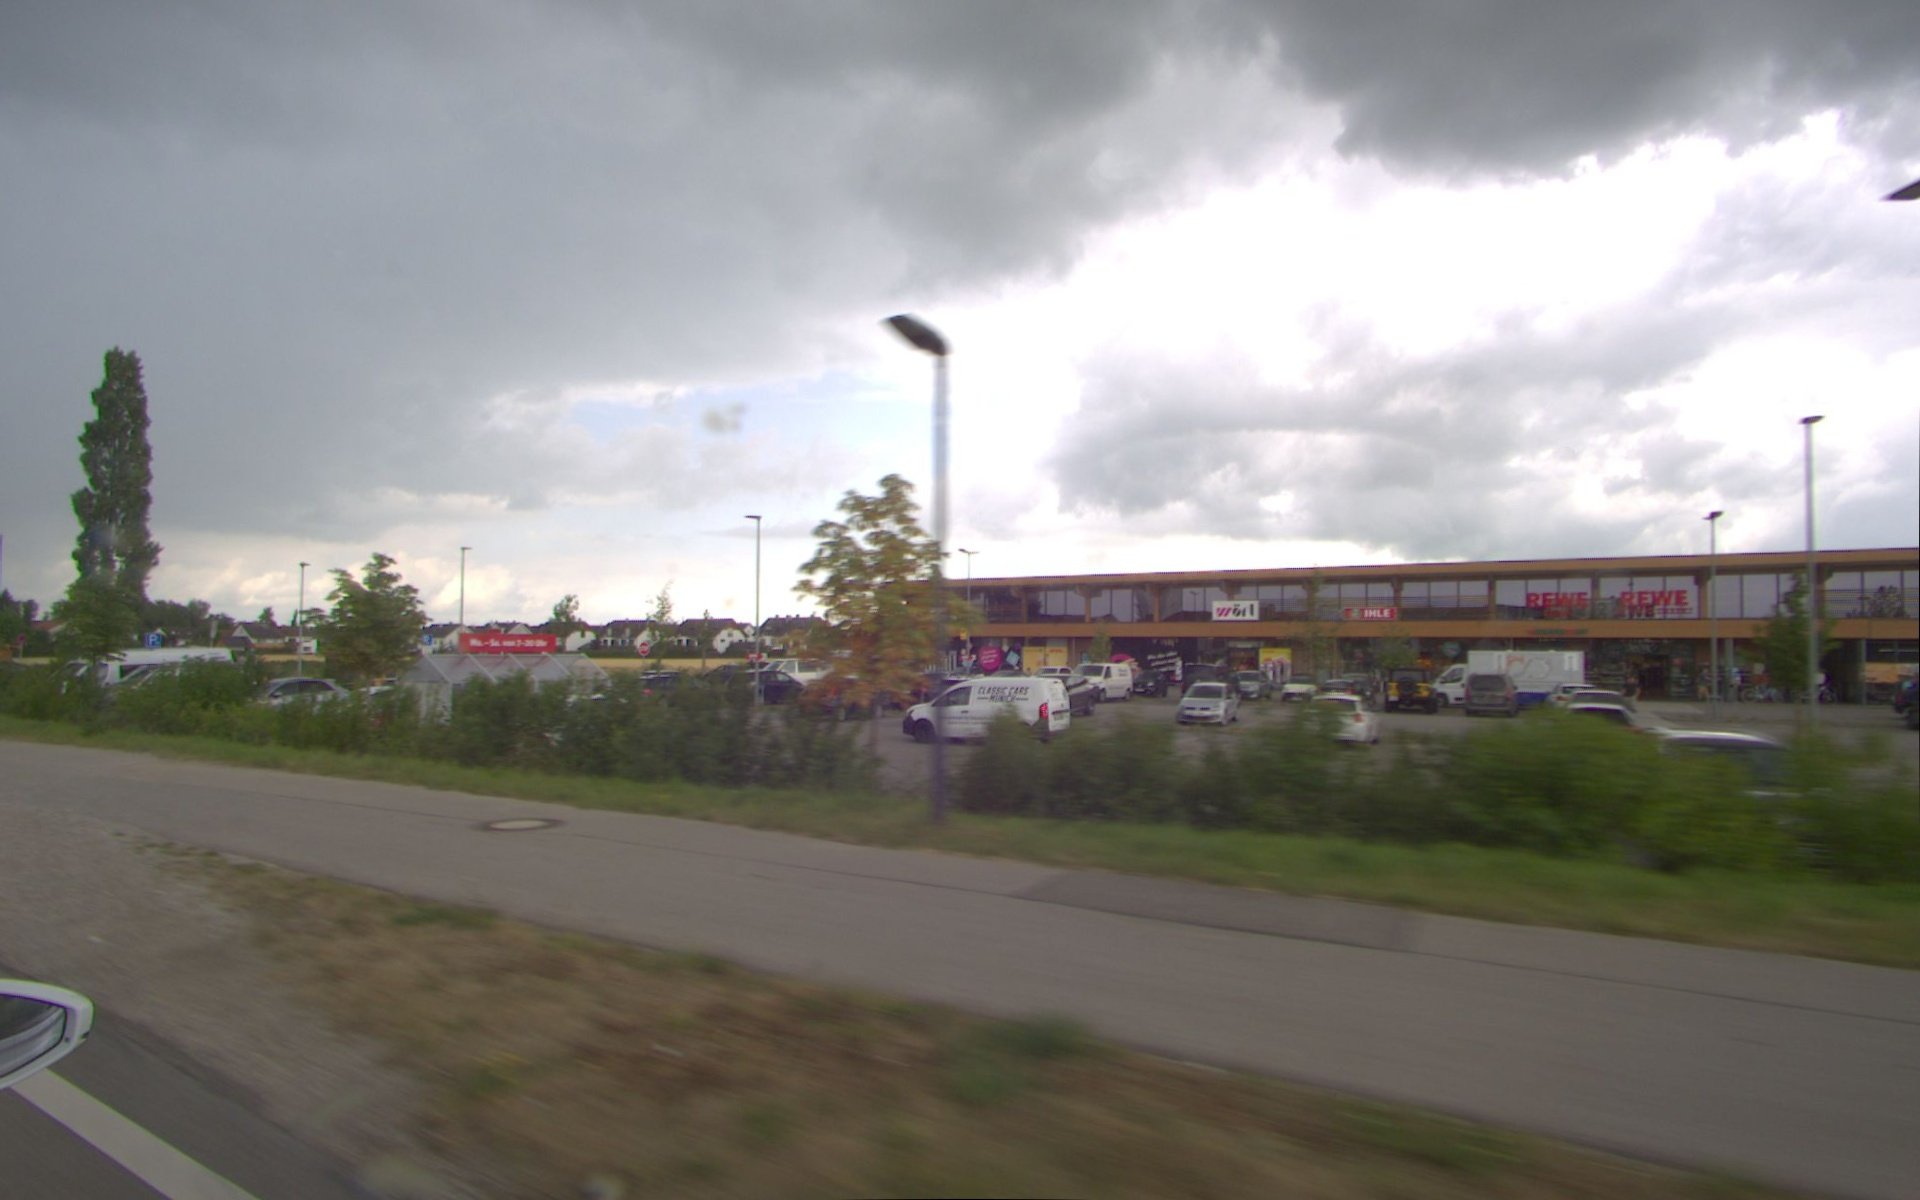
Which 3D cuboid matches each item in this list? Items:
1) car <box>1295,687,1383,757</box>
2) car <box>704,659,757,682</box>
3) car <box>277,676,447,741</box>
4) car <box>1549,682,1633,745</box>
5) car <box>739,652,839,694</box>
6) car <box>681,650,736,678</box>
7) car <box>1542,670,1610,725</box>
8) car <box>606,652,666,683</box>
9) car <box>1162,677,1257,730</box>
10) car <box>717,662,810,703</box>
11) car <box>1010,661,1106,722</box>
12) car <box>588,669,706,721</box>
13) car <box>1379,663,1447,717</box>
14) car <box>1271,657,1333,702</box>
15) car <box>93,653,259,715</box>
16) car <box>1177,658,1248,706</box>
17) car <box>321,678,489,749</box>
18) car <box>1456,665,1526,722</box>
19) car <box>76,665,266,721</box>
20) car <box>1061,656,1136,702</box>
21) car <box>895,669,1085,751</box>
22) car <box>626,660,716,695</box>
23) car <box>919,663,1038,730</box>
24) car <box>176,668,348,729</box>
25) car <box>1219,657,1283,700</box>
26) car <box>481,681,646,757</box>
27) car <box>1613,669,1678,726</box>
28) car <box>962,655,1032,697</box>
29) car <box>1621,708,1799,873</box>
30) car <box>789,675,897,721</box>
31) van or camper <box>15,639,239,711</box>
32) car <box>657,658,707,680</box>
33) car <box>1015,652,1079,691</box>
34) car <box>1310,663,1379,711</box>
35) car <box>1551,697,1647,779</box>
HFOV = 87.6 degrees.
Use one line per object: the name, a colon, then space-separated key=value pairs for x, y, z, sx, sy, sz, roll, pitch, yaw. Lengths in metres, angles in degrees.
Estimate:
car: x=10.521 y=3.302 z=27.687 sx=1.727 sy=1.552 sz=3.544 roll=-1 pitch=-1 yaw=30
car: x=-16.450 y=5.014 z=71.684 sx=3.527 sy=1.527 sz=1.742 roll=-1 pitch=-1 yaw=32
car: x=-17.875 y=3.195 z=30.142 sx=1.651 sy=1.558 sz=4.142 roll=-1 pitch=-1 yaw=30
car: x=19.581 y=3.444 z=30.999 sx=1.974 sy=1.504 sz=4.105 roll=-1 pitch=-1 yaw=36
car: x=-9.289 y=3.947 z=54.660 sx=5.180 sy=2.040 sz=1.982 roll=1 pitch=-1 yaw=-43
car: x=-19.668 y=5.016 z=78.383 sx=3.942 sy=2.040 sz=1.990 roll=-1 pitch=-1 yaw=32
car: x=24.931 y=3.870 z=40.477 sx=2.044 sy=1.872 sz=3.975 roll=-1 pitch=-1 yaw=36
car: x=-23.159 y=4.768 z=71.523 sx=3.942 sy=2.040 sz=1.990 roll=-1 pitch=-1 yaw=32
car: x=9.101 y=3.690 z=36.283 sx=1.974 sy=1.572 sz=4.105 roll=-1 pitch=-1 yaw=36
car: x=-9.096 y=3.799 z=46.499 sx=1.974 sy=1.639 sz=3.975 roll=-1 pitch=-1 yaw=36
car: x=3.856 y=3.493 z=38.845 sx=1.974 sy=2.040 sz=3.975 roll=-1 pitch=-1 yaw=36
car: x=-11.959 y=3.596 z=38.485 sx=1.974 sy=1.639 sz=3.975 roll=-1 pitch=-1 yaw=36
car: x=19.911 y=3.887 z=43.933 sx=1.974 sy=2.040 sz=3.975 roll=-1 pitch=-1 yaw=36
car: x=17.759 y=4.081 z=51.912 sx=1.974 sy=2.040 sz=3.975 roll=-1 pitch=-1 yaw=36
car: x=-29.702 y=3.109 z=38.073 sx=1.970 sy=2.040 sz=4.588 roll=-1 pitch=-1 yaw=30
car: x=12.222 y=3.908 z=48.314 sx=1.974 sy=2.040 sz=3.975 roll=-1 pitch=-1 yaw=36
car: x=-15.203 y=3.061 z=27.613 sx=1.651 sy=1.558 sz=3.752 roll=-1 pitch=-1 yaw=30
car: x=22.157 y=3.842 z=41.698 sx=2.044 sy=2.040 sz=3.975 roll=-1 pitch=-1 yaw=36
car: x=-28.096 y=3.260 z=35.850 sx=1.732 sy=1.618 sz=5.090 roll=-1 pitch=-1 yaw=30
car: x=7.104 y=3.934 z=50.807 sx=1.970 sy=2.040 sz=5.122 roll=-1 pitch=-1 yaw=30
car: x=0.801 y=2.978 z=27.799 sx=4.867 sy=1.931 sz=2.101 roll=-1 pitch=-1 yaw=29
car: x=-14.208 y=3.781 z=49.448 sx=1.873 sy=1.451 sz=4.173 roll=-1 pitch=-1 yaw=30
car: x=0.688 y=3.164 z=33.673 sx=1.974 sy=1.895 sz=4.247 roll=-1 pitch=-1 yaw=36
car: x=-22.723 y=3.155 z=32.752 sx=2.049 sy=1.618 sz=4.142 roll=-1 pitch=-1 yaw=30
car: x=15.458 y=4.127 z=53.106 sx=1.974 sy=2.040 sz=4.097 roll=-1 pitch=-1 yaw=36
car: x=-10.096 y=2.984 z=25.743 sx=1.651 sy=1.558 sz=3.752 roll=-1 pitch=-1 yaw=30
car: x=26.824 y=3.745 z=39.122 sx=1.974 sy=1.895 sz=4.247 roll=-1 pitch=-1 yaw=36
car: x=2.051 y=4.086 z=54.461 sx=1.974 sy=2.040 sz=3.975 roll=-1 pitch=-1 yaw=36
car: x=10.962 y=2.651 z=14.885 sx=1.633 sy=1.728 sz=3.982 roll=-1 pitch=-1 yaw=30
car: x=-4.234 y=3.558 z=36.844 sx=1.971 sy=1.460 sz=3.983 roll=-1 pitch=-3 yaw=31
van or camper: x=-32.666 y=2.843 z=39.566 sx=2.247 sy=2.496 sz=6.460 roll=-1 pitch=-1 yaw=29
car: x=-20.878 y=5.175 z=75.254 sx=3.527 sy=1.527 sz=1.742 roll=-1 pitch=-1 yaw=32
car: x=5.185 y=4.197 z=59.284 sx=1.974 sy=2.040 sz=3.975 roll=-1 pitch=-1 yaw=36
car: x=17.453 y=3.907 z=45.367 sx=1.974 sy=2.038 sz=3.978 roll=-1 pitch=-4 yaw=36
car: x=15.290 y=3.247 z=24.093 sx=1.775 sy=1.726 sz=3.380 roll=-1 pitch=-5 yaw=30
